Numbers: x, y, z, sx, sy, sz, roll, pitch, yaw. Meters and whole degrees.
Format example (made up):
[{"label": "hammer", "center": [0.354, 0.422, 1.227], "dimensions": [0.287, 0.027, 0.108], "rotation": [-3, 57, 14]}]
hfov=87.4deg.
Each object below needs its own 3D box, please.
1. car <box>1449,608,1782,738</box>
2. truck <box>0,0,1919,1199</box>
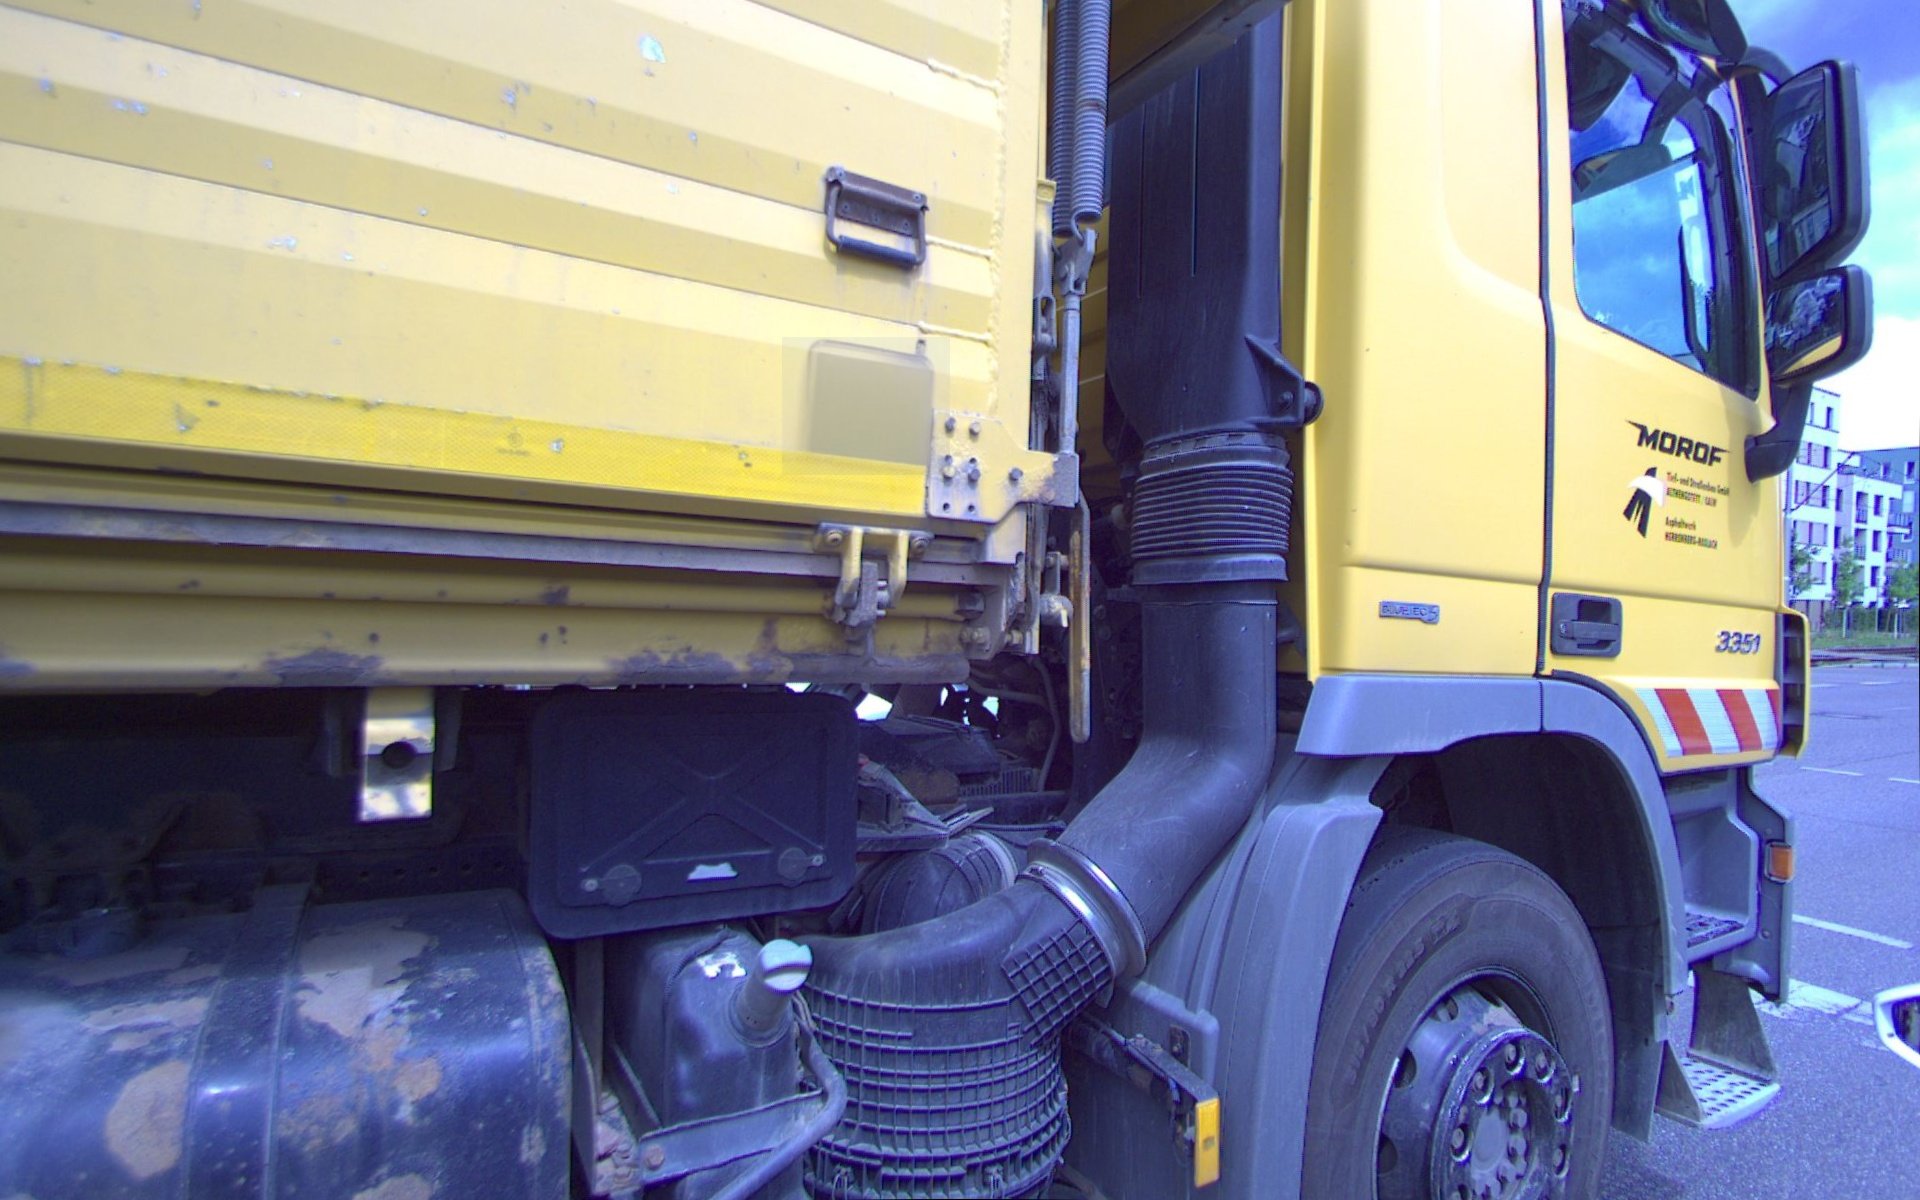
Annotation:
[{"label": "car", "center": [8.664, 0.889, 13.293], "dimensions": [3.986, 1.489, 1.773], "rotation": [1, 0, -23]}, {"label": "truck", "center": [-1.540, -0.054, 1.594], "dimensions": [7.688, 3.043, 2.707], "rotation": [2, 0, -30]}]
